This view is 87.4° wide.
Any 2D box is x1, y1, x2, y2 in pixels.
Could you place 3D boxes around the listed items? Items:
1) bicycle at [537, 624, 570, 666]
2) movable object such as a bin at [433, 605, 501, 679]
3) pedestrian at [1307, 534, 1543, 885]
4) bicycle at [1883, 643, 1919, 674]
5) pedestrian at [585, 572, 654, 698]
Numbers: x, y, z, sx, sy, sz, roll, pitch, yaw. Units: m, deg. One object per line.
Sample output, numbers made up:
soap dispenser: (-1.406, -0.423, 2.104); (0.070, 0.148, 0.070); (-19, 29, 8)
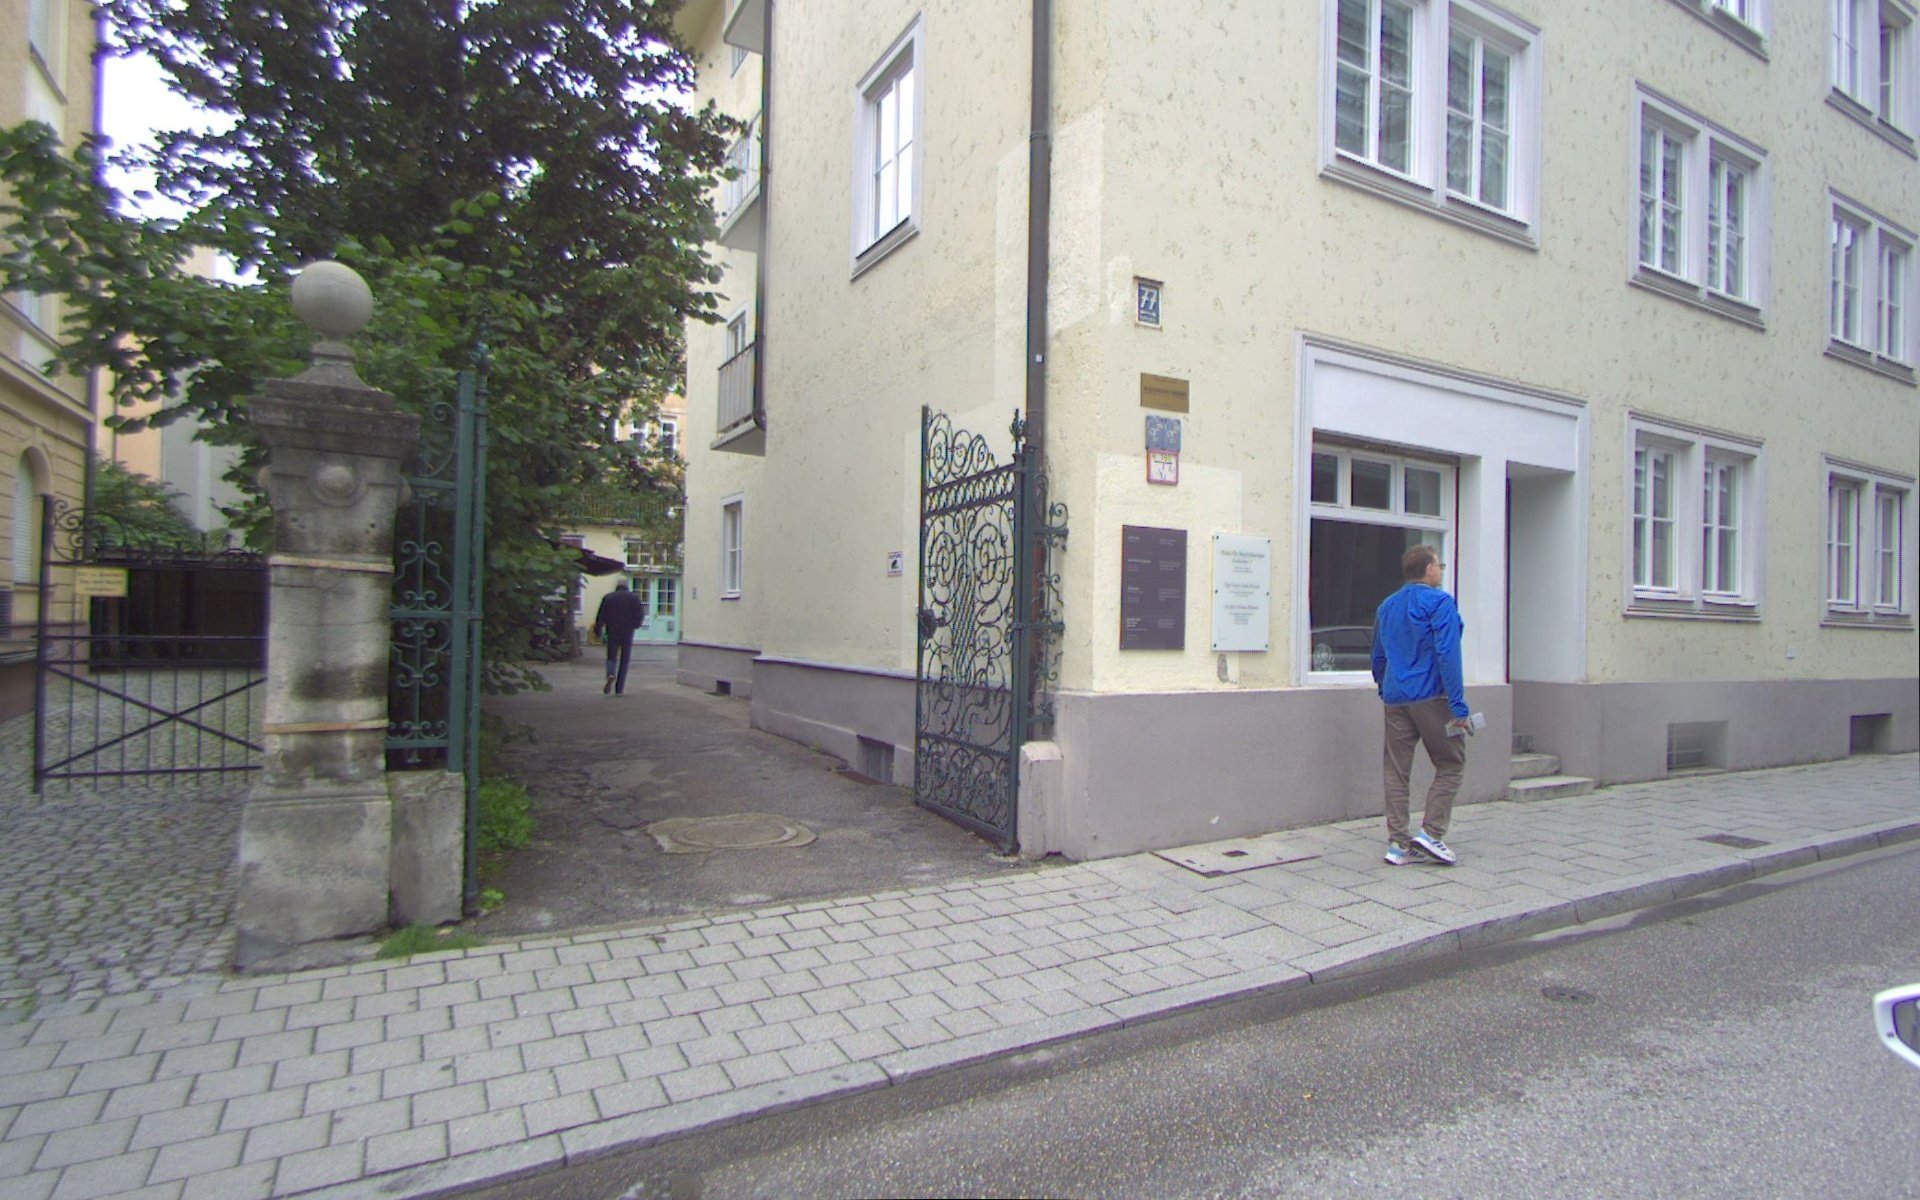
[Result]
bicycle: (-10.064, 1.109, 24.922); (0.688, 0.985, 1.880); (1, -1, -20)
movable object such as a bin: (-9.917, 0.834, 20.263); (1.091, 1.422, 1.221); (1, -1, -22)
pedestrian: (2.757, 0.599, 5.975); (1.064, 1.879, 0.753); (2, 0, -29)
bicycle: (35.049, 2.148, 36.838); (0.590, 1.083, 1.651); (2, 0, -25)
pedestrian: (-5.199, 0.531, 15.322); (0.895, 1.851, 0.951); (1, -1, -23)
